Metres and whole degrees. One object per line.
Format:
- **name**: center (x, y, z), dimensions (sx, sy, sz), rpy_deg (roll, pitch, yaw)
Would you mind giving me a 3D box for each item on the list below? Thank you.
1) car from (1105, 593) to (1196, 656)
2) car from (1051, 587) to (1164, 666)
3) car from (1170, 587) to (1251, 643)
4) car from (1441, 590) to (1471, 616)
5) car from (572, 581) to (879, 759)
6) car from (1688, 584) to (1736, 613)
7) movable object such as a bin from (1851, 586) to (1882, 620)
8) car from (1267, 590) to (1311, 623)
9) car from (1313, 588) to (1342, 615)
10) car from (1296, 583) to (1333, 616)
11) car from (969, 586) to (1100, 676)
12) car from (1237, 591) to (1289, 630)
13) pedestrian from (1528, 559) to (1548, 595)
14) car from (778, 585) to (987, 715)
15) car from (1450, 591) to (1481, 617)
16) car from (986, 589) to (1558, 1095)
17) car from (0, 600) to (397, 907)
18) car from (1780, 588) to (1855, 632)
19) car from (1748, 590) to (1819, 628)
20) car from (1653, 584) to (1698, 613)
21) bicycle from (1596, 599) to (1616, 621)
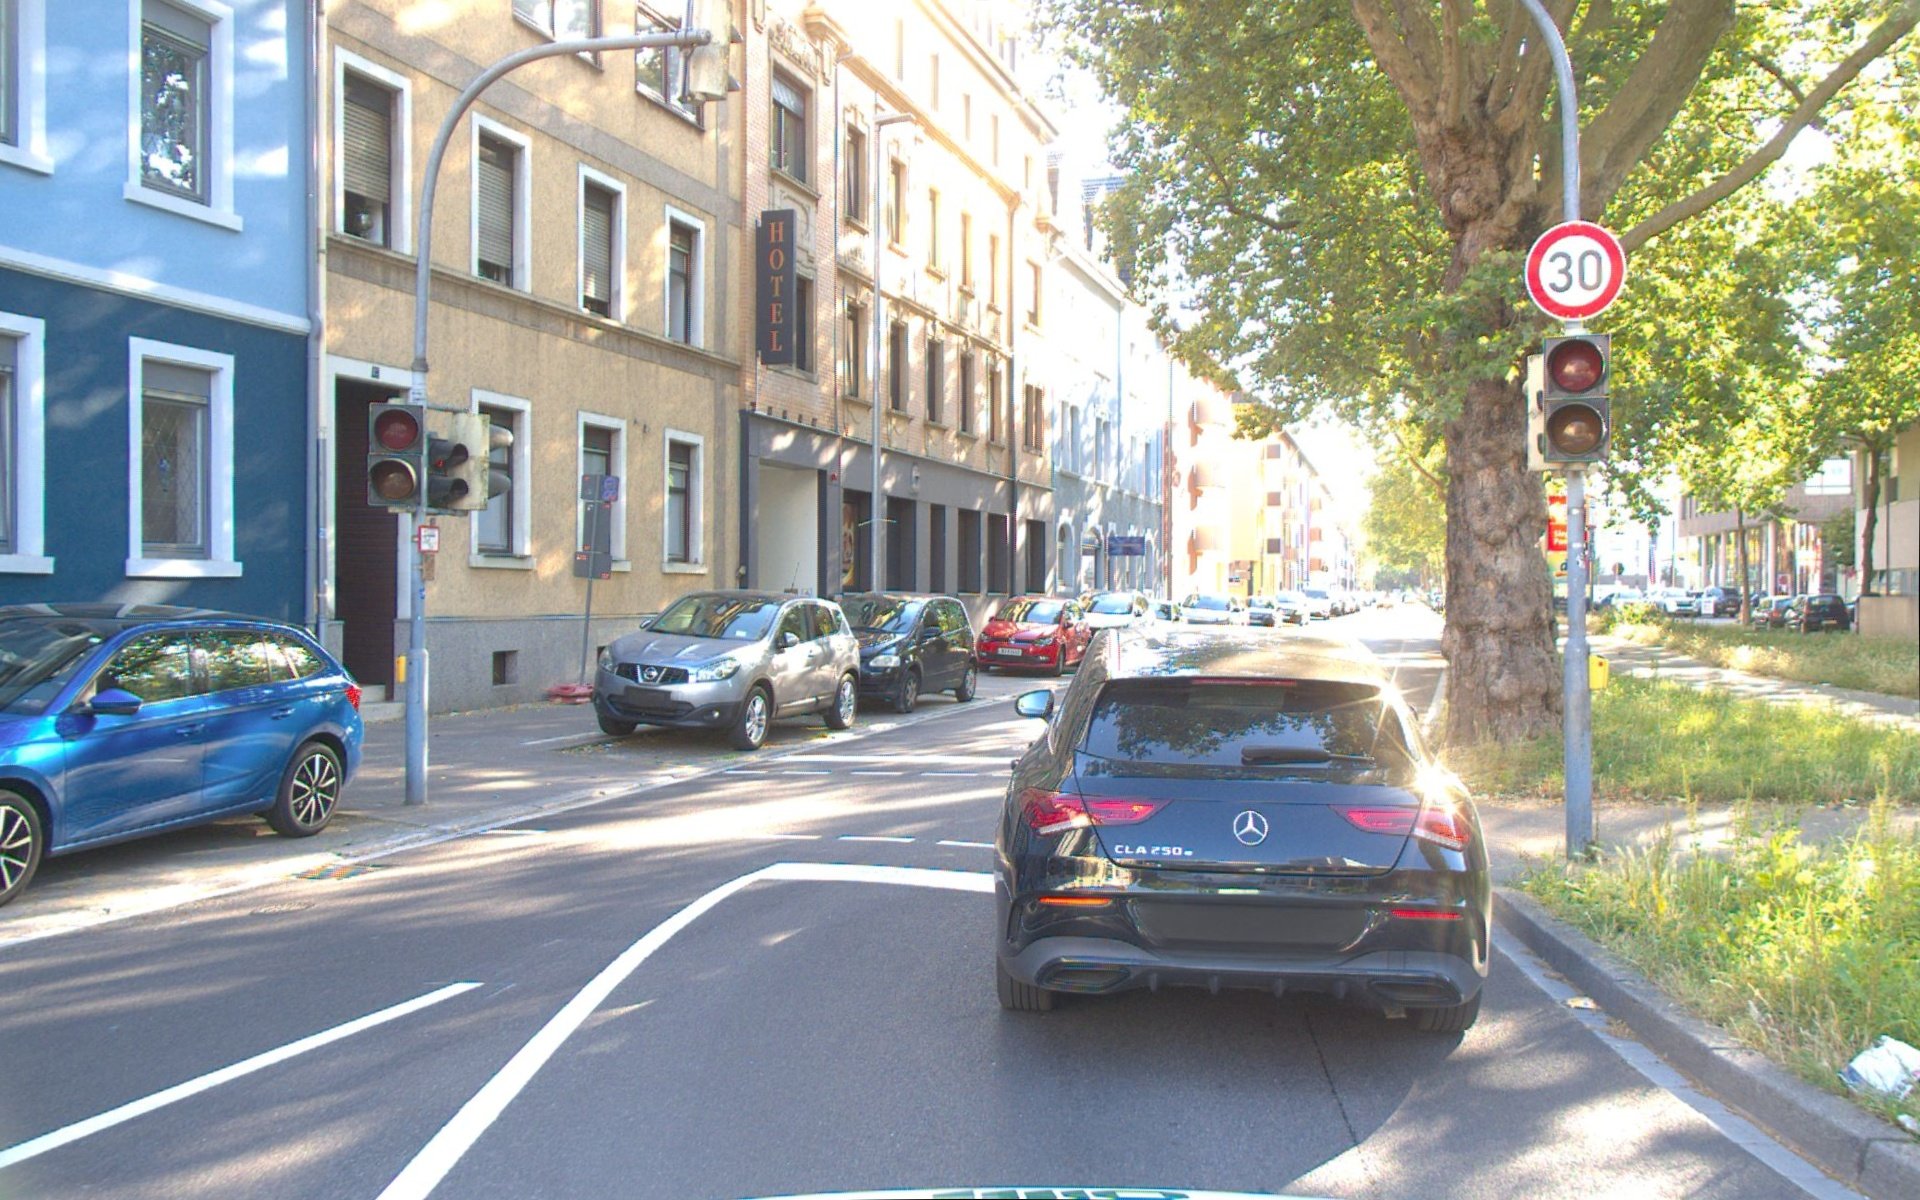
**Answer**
- **car**: center (5.025, 0.595, 43.222), dimensions (1.642, 1.522, 3.874), rpy_deg (2, 1, 17)
- **car**: center (3.370, 0.546, 37.090), dimensions (1.642, 1.612, 4.202), rpy_deg (2, 1, 17)
- **car**: center (8.138, 0.443, 53.340), dimensions (1.868, 1.670, 4.580), rpy_deg (2, 1, 17)
- **car**: center (32.699, 0.189, 109.093), dimensions (1.772, 1.565, 4.586), rpy_deg (-3, 0, 16)
- **car**: center (-2.468, 0.675, 18.518), dimensions (1.744, 1.702, 4.158), rpy_deg (2, 1, 17)
- **car**: center (45.715, -0.100, 100.611), dimensions (1.943, 1.764, 4.184), rpy_deg (0, 0, 15)
- **movable object such as a bin**: center (39.757, 0.135, 72.545), dimensions (1.170, 1.488, 1.405), rpy_deg (0, 0, 28)
- **car**: center (16.175, 0.290, 81.252), dimensions (1.642, 1.550, 4.023), rpy_deg (2, 1, 17)
- **car**: center (25.243, 0.079, 113.551), dimensions (1.708, 1.818, 4.553), rpy_deg (2, 1, 14)
- **car**: center (21.657, -0.074, 100.952), dimensions (1.698, 1.940, 5.211), rpy_deg (1, 1, 17)
- **car**: center (1.525, 0.555, 32.602), dimensions (1.642, 1.620, 3.758), rpy_deg (2, 1, 17)
- **car**: center (12.597, 0.417, 68.628), dimensions (1.642, 1.512, 3.603), rpy_deg (2, 1, 17)
- **pedestrian**: center (28.829, -1.148, 82.445), dimensions (0.751, 1.792, 0.664), rpy_deg (-2, 0, 6)
- **car**: center (-1.001, 0.632, 23.400), dimensions (1.643, 1.633, 3.706), rpy_deg (2, 1, 19)
- **car**: center (31.258, 0.250, 102.368), dimensions (1.600, 1.493, 4.024), rpy_deg (-2, -1, 14)
- **car**: center (1.148, 0.726, 7.100), dimensions (1.707, 1.468, 3.972), rpy_deg (2, 1, 6)
- **car**: center (-5.400, 0.802, 10.015), dimensions (1.615, 1.512, 4.265), rpy_deg (2, 1, 15)
- **car**: center (32.103, 0.353, 62.009), dimensions (1.820, 1.580, 3.762), rpy_deg (0, 0, 16)
- **car**: center (34.108, 0.349, 68.585), dimensions (1.819, 1.494, 4.127), rpy_deg (0, 0, 15)
- **car**: center (43.814, -0.111, 101.317), dimensions (1.835, 1.764, 4.184), rpy_deg (0, 0, 14)
- **bicycle**: center (31.117, 0.482, 79.659), dimensions (0.375, 1.021, 1.486), rpy_deg (0, 0, 0)
